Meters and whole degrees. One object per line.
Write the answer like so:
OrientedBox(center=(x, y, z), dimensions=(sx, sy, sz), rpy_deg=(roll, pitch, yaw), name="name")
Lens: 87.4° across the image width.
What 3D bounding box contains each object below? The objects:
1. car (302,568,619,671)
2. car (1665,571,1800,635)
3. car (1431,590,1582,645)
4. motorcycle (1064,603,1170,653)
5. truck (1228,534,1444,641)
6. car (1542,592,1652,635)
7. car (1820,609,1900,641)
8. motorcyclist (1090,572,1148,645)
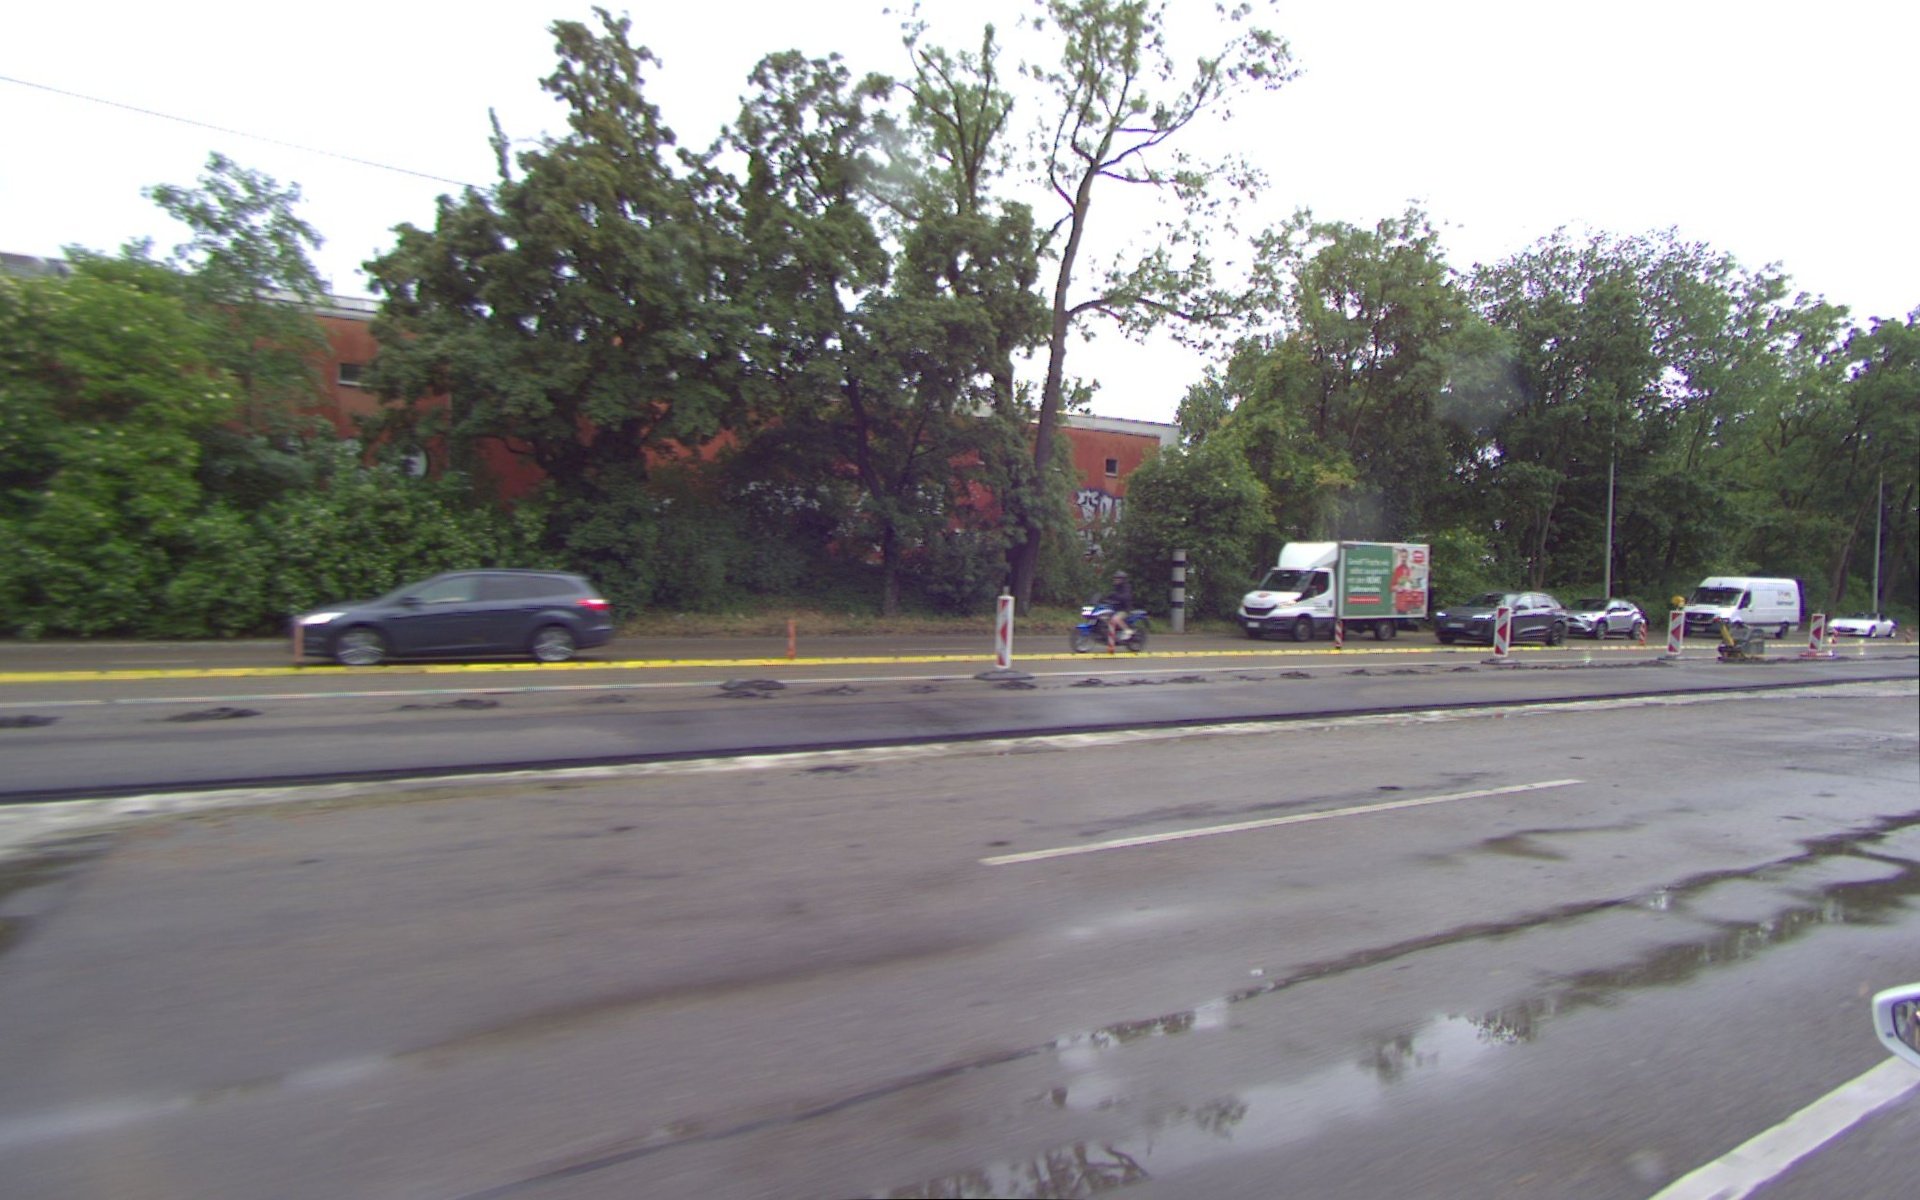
OrientedBox(center=(-7.755, 0.285, 15.810), dimensions=(4.271, 1.434, 1.661), rpy_deg=(1, 1, -31), name="car")
OrientedBox(center=(33.254, 0.151, 43.190), dimensions=(6.770, 2.614, 2.090), rpy_deg=(1, 1, -29), name="car")
OrientedBox(center=(16.450, 0.510, 30.214), dimensions=(4.383, 1.551, 1.951), rpy_deg=(1, 1, -29), name="car")
OrientedBox(center=(3.504, 0.615, 22.350), dimensions=(2.339, 1.028, 0.824), rpy_deg=(1, 2, -31), name="motorcycle")
OrientedBox(center=(11.542, -0.337, 30.632), dimensions=(6.851, 2.979, 2.236), rpy_deg=(1, 1, -29), name="truck")
OrientedBox(center=(24.050, 0.510, 37.882), dimensions=(4.268, 1.505, 1.662), rpy_deg=(1, 1, -29), name="car")
OrientedBox(center=(44.639, 1.215, 49.827), dimensions=(4.268, 1.505, 1.662), rpy_deg=(1, 1, -29), name="car")
OrientedBox(center=(3.536, 0.185, 22.349), dimensions=(0.916, 1.586, 0.824), rpy_deg=(1, 2, -30), name="motorcyclist")
